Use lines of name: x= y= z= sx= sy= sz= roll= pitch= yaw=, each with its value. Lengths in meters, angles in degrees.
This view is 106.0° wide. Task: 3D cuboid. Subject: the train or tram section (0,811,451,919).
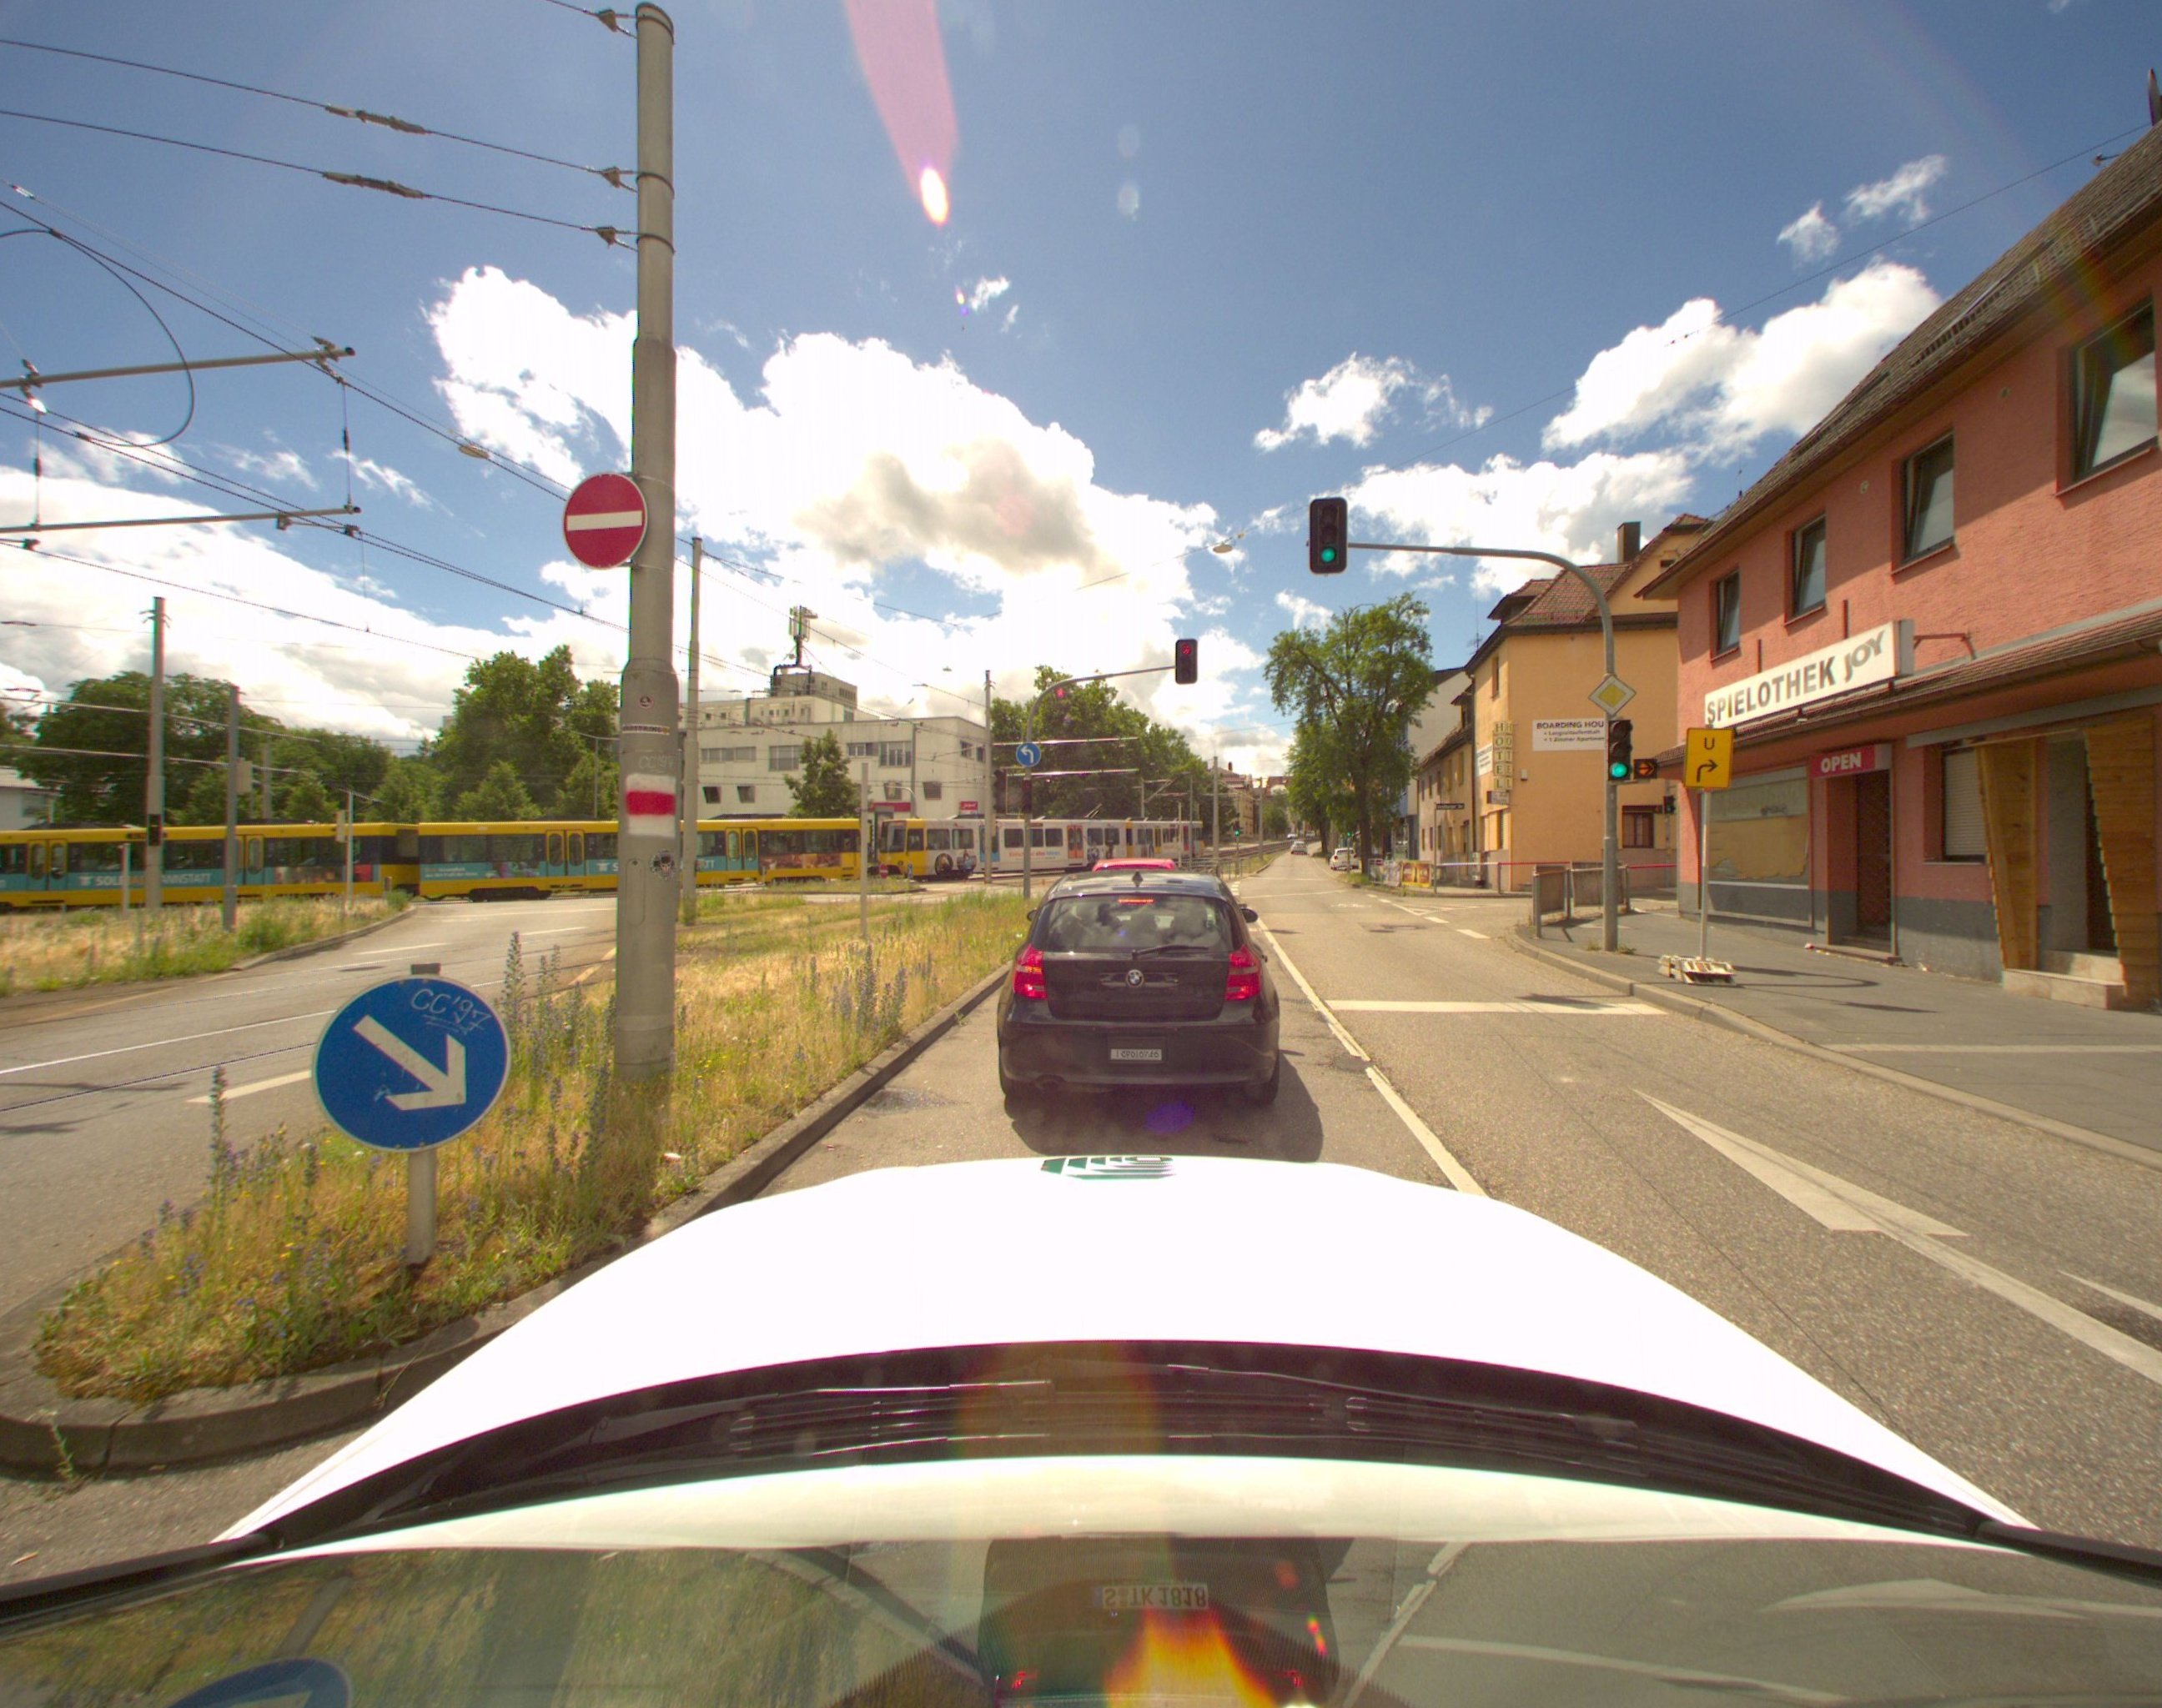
train or tram section: x=-37.746 y=0.488 z=34.243 sx=18.796 sy=3.919 sz=3.756 roll=-2 pitch=-1 yaw=-4

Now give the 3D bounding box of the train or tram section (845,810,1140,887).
train or tram section: x=-4.313 y=-0.323 z=50.194 sx=3.713 sy=3.879 sz=20.761 roll=-3 pitch=-1 yaw=42

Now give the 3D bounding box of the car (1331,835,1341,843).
car: x=49.136 y=-2.951 z=156.863 sx=1.801 sy=1.468 sz=4.018 roll=1 pitch=1 yaw=17

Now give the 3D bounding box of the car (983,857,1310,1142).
car: x=0.340 y=0.796 z=6.319 sx=1.696 sy=1.452 sz=3.999 roll=-2 pitch=-1 yaw=0

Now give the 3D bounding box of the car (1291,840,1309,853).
car: x=25.791 y=-0.872 z=96.024 sx=1.800 sy=1.468 sz=4.019 roll=-1 pitch=0 yaw=18

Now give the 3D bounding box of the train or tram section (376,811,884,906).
train or tram section: x=-19.957 y=0.032 z=38.750 sx=20.184 sy=3.829 sz=3.730 roll=-1 pitch=-1 yaw=-26

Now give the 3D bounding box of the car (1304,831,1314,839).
car: x=57.696 y=-4.769 z=206.020 sx=1.976 sy=2.014 sz=4.022 roll=-2 pitch=-1 yaw=23

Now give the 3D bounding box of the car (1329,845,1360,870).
car: x=17.951 y=0.226 z=55.658 sx=1.774 sy=1.596 sz=4.016 roll=-2 pitch=-1 yaw=15

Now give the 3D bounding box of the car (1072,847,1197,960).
car: x=0.996 y=0.694 z=12.895 sx=1.616 sy=1.473 sz=4.009 roll=-2 pitch=-1 yaw=8

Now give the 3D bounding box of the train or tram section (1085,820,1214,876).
train or tram section: x=6.257 y=-0.374 z=66.503 sx=3.715 sy=3.814 sz=20.165 roll=-2 pitch=-1 yaw=25

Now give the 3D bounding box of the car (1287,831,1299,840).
car: x=48.658 y=-4.231 z=186.916 sx=1.976 sy=2.014 sz=4.022 roll=-2 pitch=-1 yaw=23
